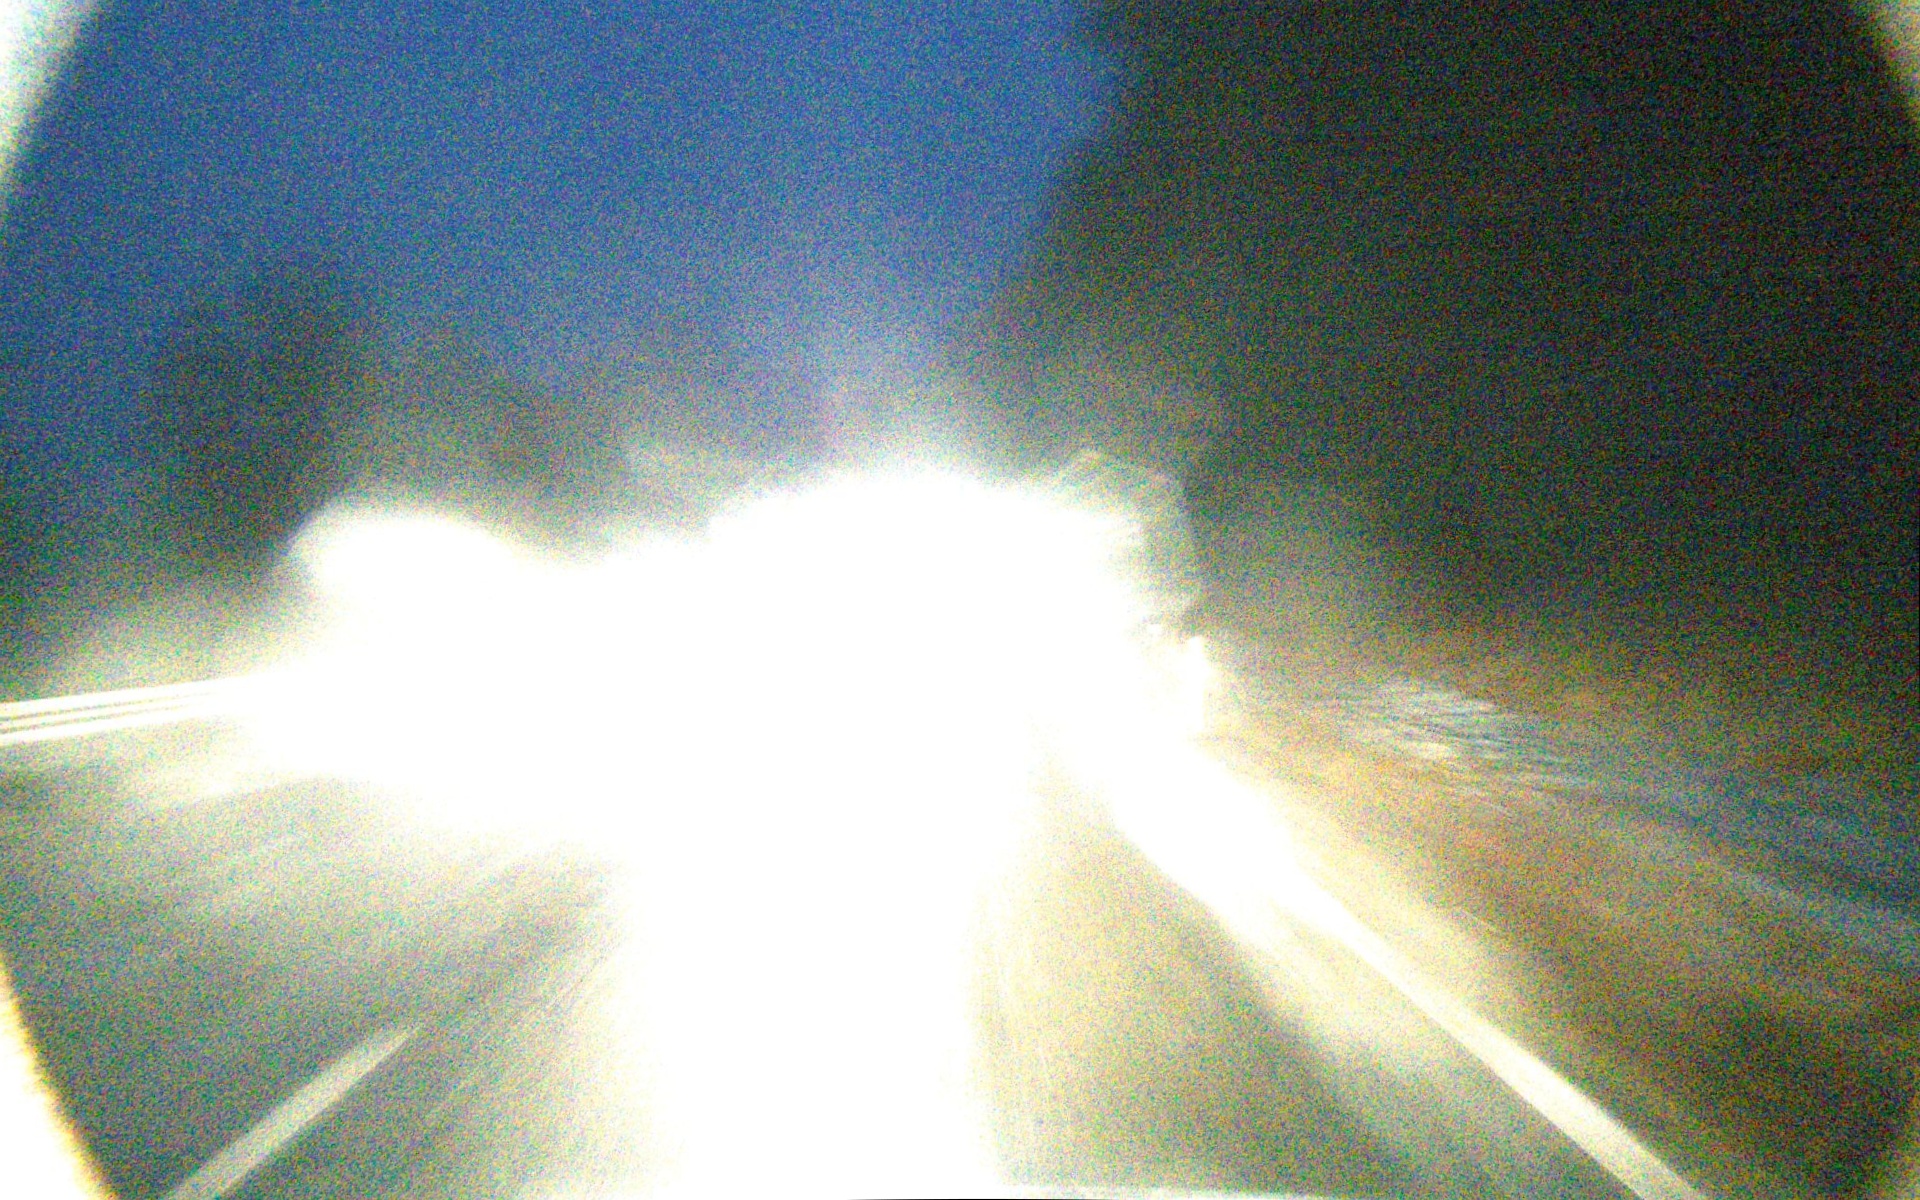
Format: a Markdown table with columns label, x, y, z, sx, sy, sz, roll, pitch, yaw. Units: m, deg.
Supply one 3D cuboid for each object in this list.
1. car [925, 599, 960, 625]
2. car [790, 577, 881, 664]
| label | x | y | z | sx | sy | sz | roll | pitch | yaw |
| --- | --- | --- | --- | --- | --- | --- | --- | --- | --- |
| car | -1.056 | 0.707 | 100.793 | 1.877 | 1.489 | 4.260 | 0 | 0 | 2 |
| car | -2.939 | 0.470 | 39.755 | 1.816 | 1.974 | 4.000 | 0 | 0 | 1 |
